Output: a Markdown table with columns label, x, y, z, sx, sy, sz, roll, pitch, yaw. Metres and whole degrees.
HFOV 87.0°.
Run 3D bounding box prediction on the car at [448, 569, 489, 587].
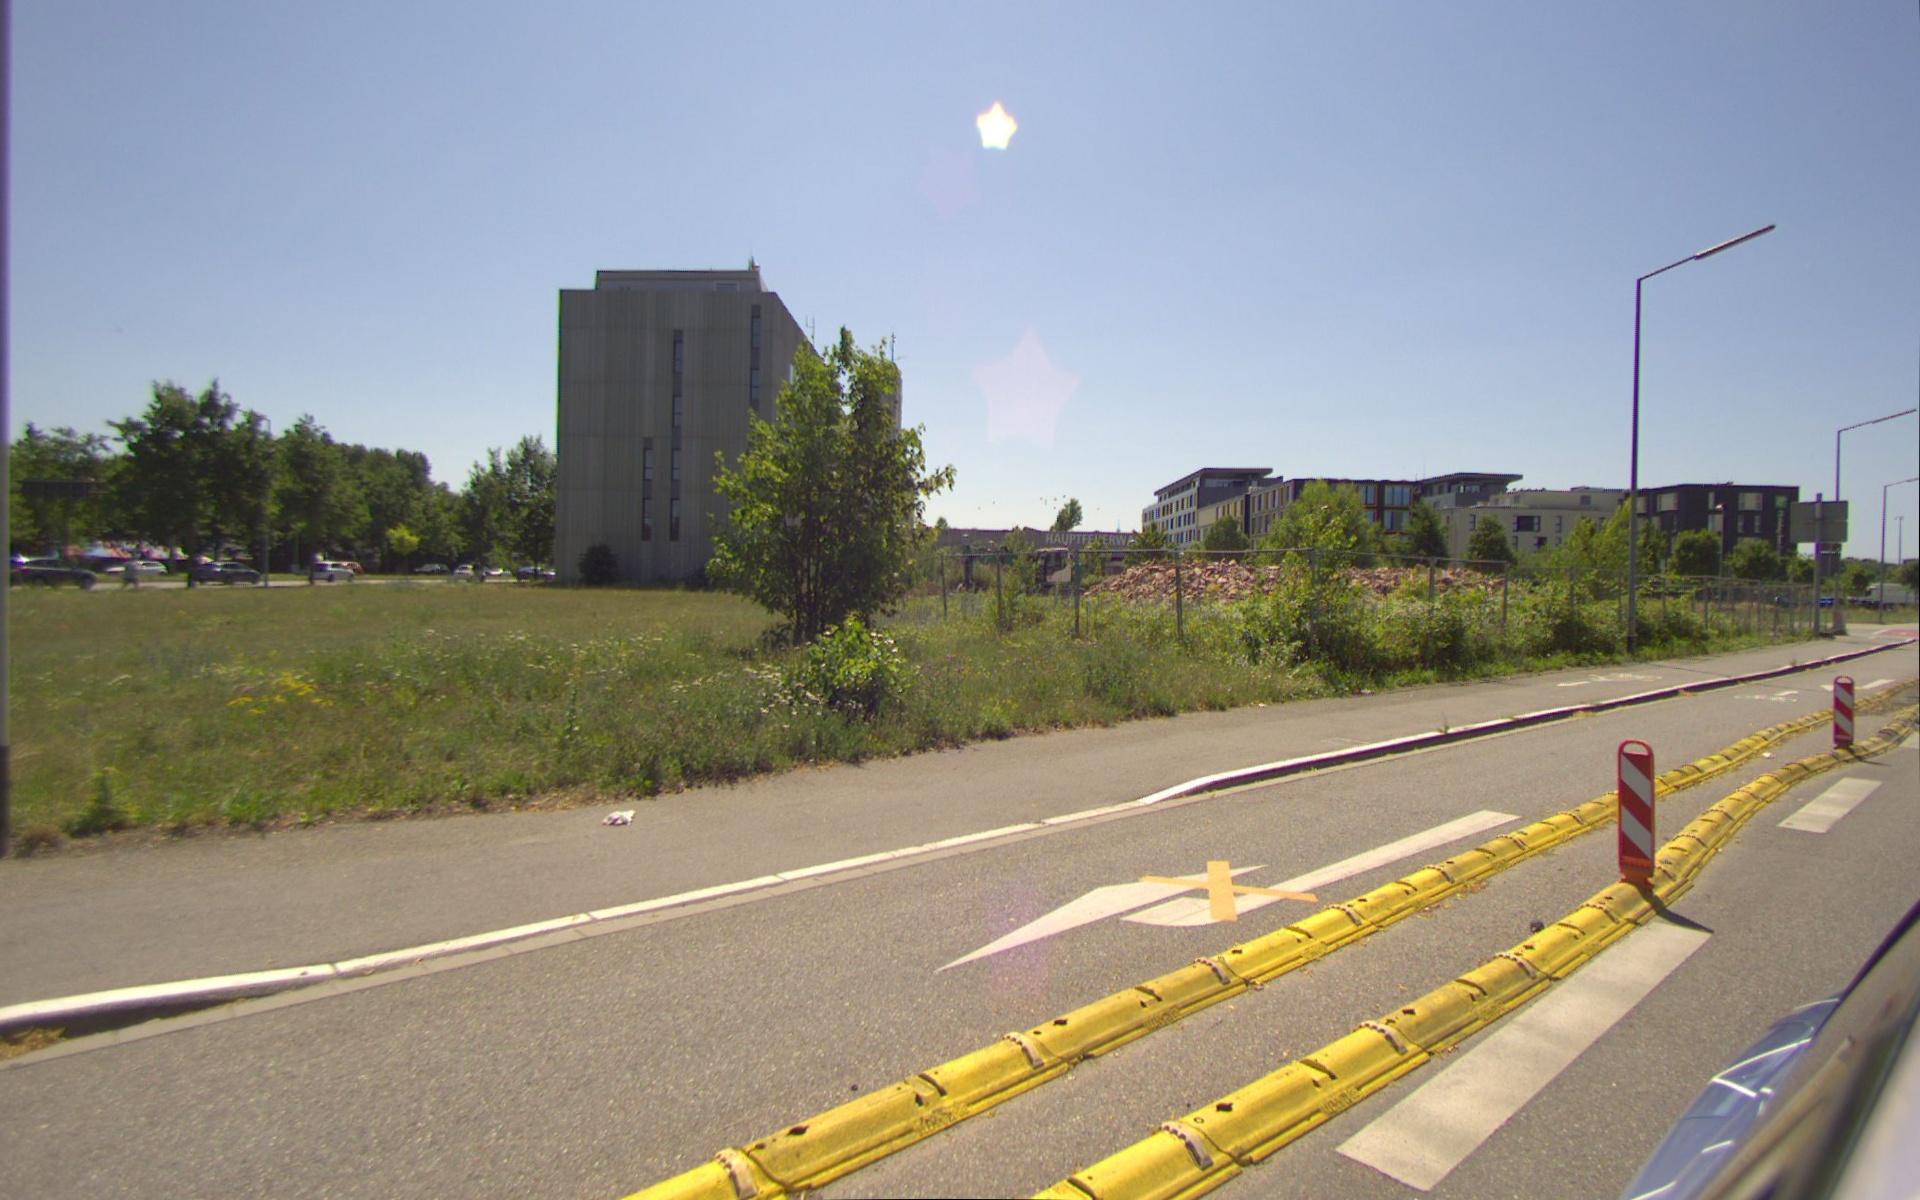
| label | x | y | z | sx | sy | sz | roll | pitch | yaw |
| --- | --- | --- | --- | --- | --- | --- | --- | --- | --- |
| car | -44.948 | -1.973 | 92.591 | 1.708 | 1.571 | 3.999 | 0 | 1 | 1 |

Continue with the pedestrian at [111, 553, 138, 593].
| label | x | y | z | sx | sy | sz | roll | pitch | yaw |
| --- | --- | --- | --- | --- | --- | --- | --- | --- | --- |
| pedestrian | -34.109 | -1.095 | 41.327 | 0.489 | 1.583 | 0.737 | 0 | 0 | -1 |

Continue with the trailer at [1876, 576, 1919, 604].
| label | x | y | z | sx | sy | sz | roll | pitch | yaw |
| --- | --- | --- | --- | --- | --- | --- | --- | --- | --- |
| trailer | 119.670 | -1.231 | 126.433 | 8.030 | 3.390 | 1.998 | 2 | 1 | 4 |

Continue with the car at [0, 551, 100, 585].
| label | x | y | z | sx | sy | sz | roll | pitch | yaw |
| --- | --- | --- | --- | --- | --- | --- | --- | --- | --- |
| car | -45.608 | -1.565 | 50.283 | 1.962 | 1.616 | 4.447 | 0 | 1 | 0 |

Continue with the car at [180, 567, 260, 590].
| label | x | y | z | sx | sy | sz | roll | pitch | yaw |
| --- | --- | --- | --- | --- | --- | --- | --- | --- | --- |
| car | -46.767 | -1.343 | 64.085 | 1.866 | 1.408 | 4.205 | 0 | 1 | 2 |

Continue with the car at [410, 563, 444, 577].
| label | x | y | z | sx | sy | sz | roll | pitch | yaw |
| --- | --- | --- | --- | --- | --- | --- | --- | --- | --- |
| car | -60.872 | -3.400 | 115.710 | 1.708 | 1.571 | 3.999 | 0 | 1 | 1 |

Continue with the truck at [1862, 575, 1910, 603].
| label | x | y | z | sx | sy | sz | roll | pitch | yaw |
| --- | --- | --- | --- | --- | --- | --- | --- | --- | --- |
| truck | 115.874 | -1.357 | 126.730 | 3.928 | 3.377 | 1.998 | 1 | 1 | 4 |

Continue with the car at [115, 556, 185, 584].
| label | x | y | z | sx | sy | sz | roll | pitch | yaw |
| --- | --- | --- | --- | --- | --- | --- | --- | --- | --- |
| car | -60.527 | -2.228 | 75.676 | 1.963 | 2.039 | 3.998 | 0 | 1 | 2 |

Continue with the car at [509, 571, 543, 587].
| label | x | y | z | sx | sy | sz | roll | pitch | yaw |
| --- | --- | --- | --- | --- | --- | --- | --- | --- | --- |
| car | -45.056 | -2.140 | 105.135 | 1.707 | 1.571 | 4.408 | 1 | 1 | 0 |

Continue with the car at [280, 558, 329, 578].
| label | x | y | z | sx | sy | sz | roll | pitch | yaw |
| --- | --- | --- | --- | --- | --- | --- | --- | --- | --- |
| car | -61.973 | -3.009 | 95.694 | 1.963 | 1.838 | 3.998 | 0 | 1 | 2 |

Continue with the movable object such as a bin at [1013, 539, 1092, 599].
| label | x | y | z | sx | sy | sz | roll | pitch | yaw |
| --- | --- | --- | --- | --- | --- | --- | --- | --- | --- |
| movable object such as a bin | 4.946 | -1.614 | 53.977 | 3.619 | 3.101 | 2.207 | 0 | 1 | -35 |

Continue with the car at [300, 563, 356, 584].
| label | x | y | z | sx | sy | sz | roll | pitch | yaw |
| --- | --- | --- | --- | --- | --- | --- | --- | --- | --- |
| car | -47.741 | -1.999 | 76.522 | 1.708 | 1.571 | 3.999 | 0 | 1 | 1 |

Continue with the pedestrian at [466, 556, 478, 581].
| label | x | y | z | sx | sy | sz | roll | pitch | yaw |
| --- | --- | --- | --- | --- | --- | --- | --- | --- | --- |
| pedestrian | -34.062 | -2.188 | 70.615 | 0.489 | 1.712 | 0.737 | 0 | 0 | -1 |
